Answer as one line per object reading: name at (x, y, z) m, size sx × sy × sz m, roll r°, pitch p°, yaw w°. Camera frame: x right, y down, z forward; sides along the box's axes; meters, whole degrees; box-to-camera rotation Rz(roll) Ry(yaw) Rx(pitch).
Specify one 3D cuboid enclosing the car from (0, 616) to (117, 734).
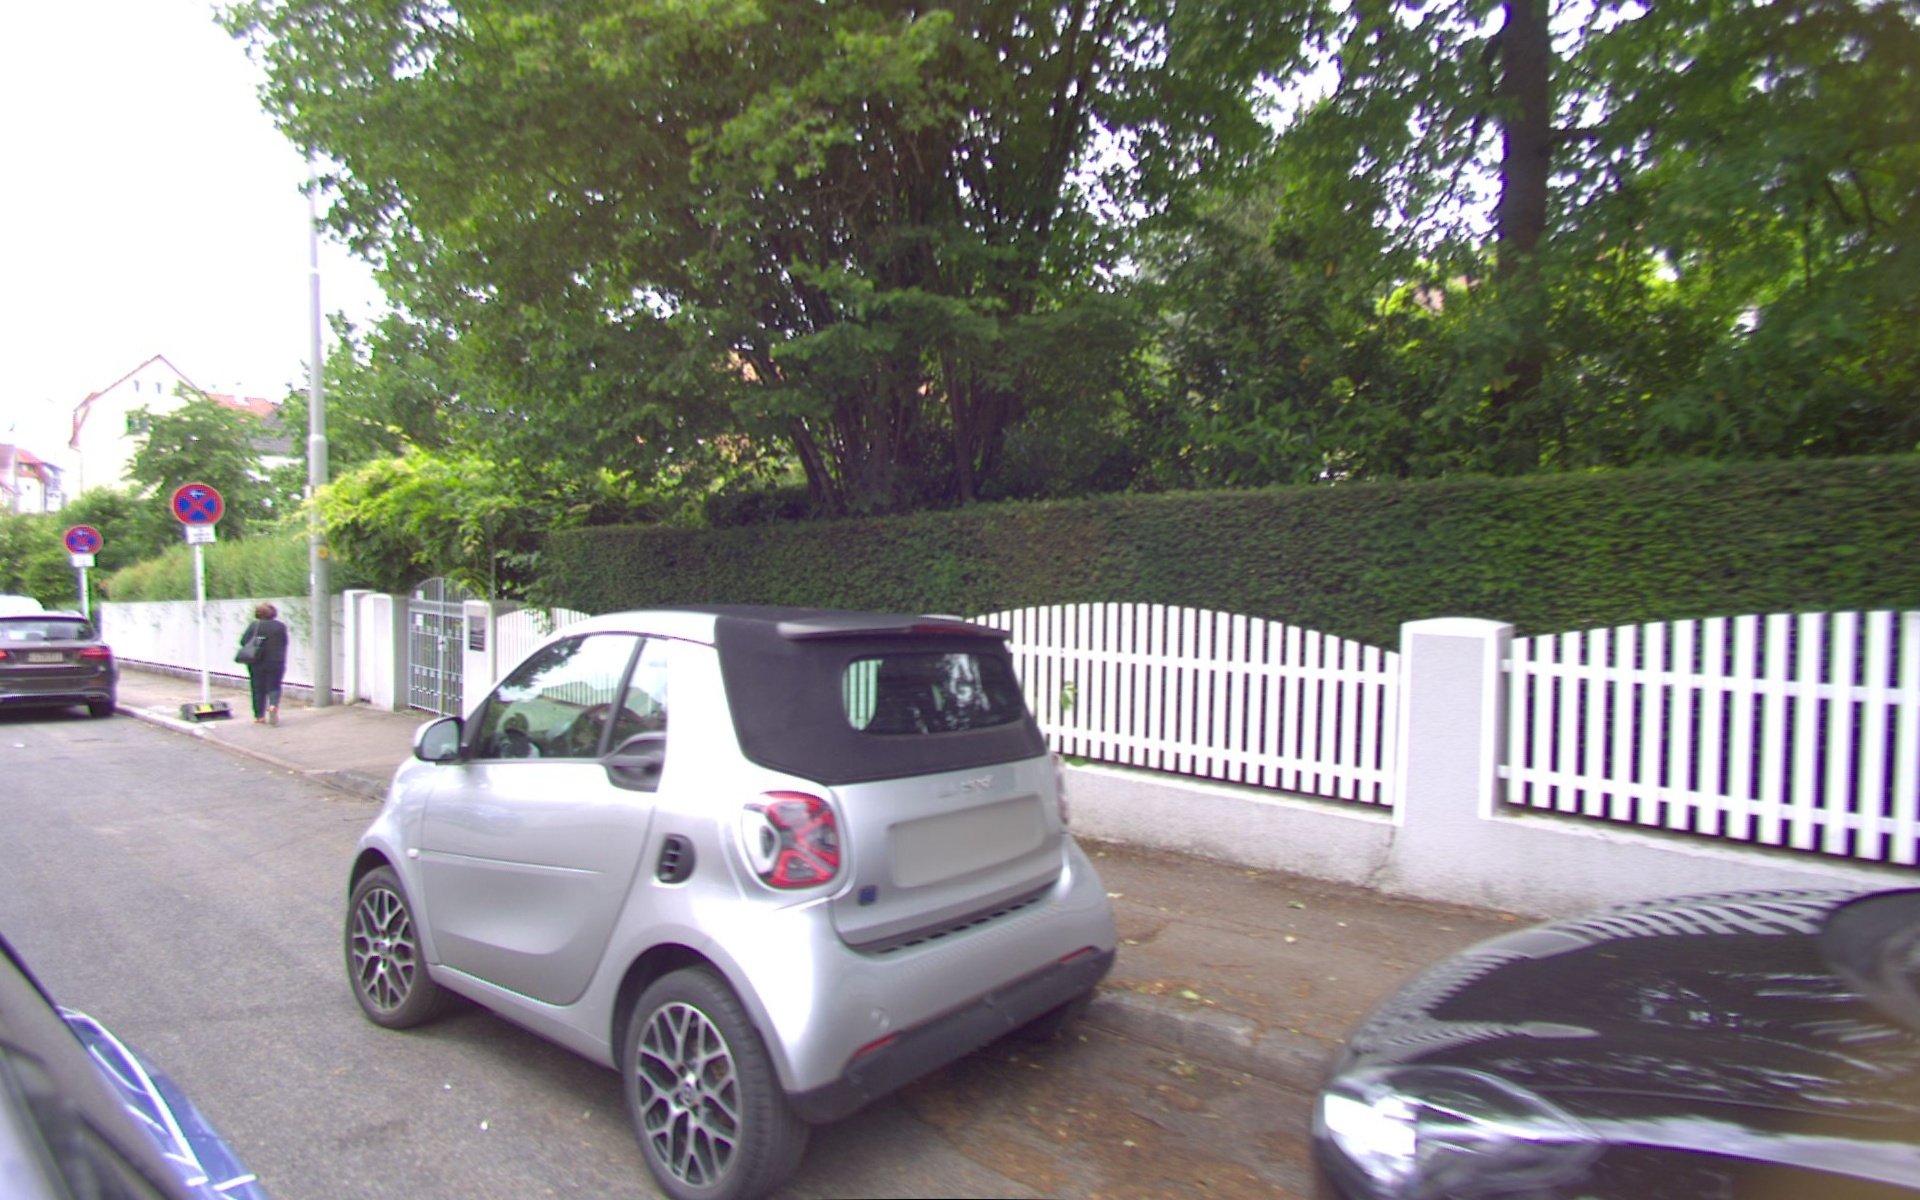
car at (-14.707, 1.075, 15.650) m, size 4.338 × 1.635 × 1.773 m, roll -1°, pitch -2°, yaw 39°

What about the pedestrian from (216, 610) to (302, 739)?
pedestrian at (-9.090, 0.941, 13.118) m, size 0.797 × 1.557 × 0.602 m, roll -1°, pitch 4°, yaw 41°

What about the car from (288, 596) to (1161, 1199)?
car at (-0.973, 0.818, 3.702) m, size 2.958 × 1.545 × 1.606 m, roll -1°, pitch -3°, yaw 38°

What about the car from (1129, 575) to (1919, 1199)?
car at (2.228, 0.729, 0.799) m, size 3.887 × 1.492 × 1.637 m, roll -2°, pitch -3°, yaw 42°

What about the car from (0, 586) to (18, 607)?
car at (-72.761, -0.309, 76.699) m, size 1.617 × 1.409 × 3.711 m, roll 1°, pitch 2°, yaw -38°

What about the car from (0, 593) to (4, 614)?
car at (-70.413, 0.323, 73.047) m, size 1.617 × 1.439 × 4.133 m, roll 2°, pitch 2°, yaw -38°

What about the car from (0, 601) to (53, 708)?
car at (-19.264, 0.995, 19.712) m, size 4.618 × 1.928 × 1.835 m, roll -1°, pitch -2°, yaw 42°
